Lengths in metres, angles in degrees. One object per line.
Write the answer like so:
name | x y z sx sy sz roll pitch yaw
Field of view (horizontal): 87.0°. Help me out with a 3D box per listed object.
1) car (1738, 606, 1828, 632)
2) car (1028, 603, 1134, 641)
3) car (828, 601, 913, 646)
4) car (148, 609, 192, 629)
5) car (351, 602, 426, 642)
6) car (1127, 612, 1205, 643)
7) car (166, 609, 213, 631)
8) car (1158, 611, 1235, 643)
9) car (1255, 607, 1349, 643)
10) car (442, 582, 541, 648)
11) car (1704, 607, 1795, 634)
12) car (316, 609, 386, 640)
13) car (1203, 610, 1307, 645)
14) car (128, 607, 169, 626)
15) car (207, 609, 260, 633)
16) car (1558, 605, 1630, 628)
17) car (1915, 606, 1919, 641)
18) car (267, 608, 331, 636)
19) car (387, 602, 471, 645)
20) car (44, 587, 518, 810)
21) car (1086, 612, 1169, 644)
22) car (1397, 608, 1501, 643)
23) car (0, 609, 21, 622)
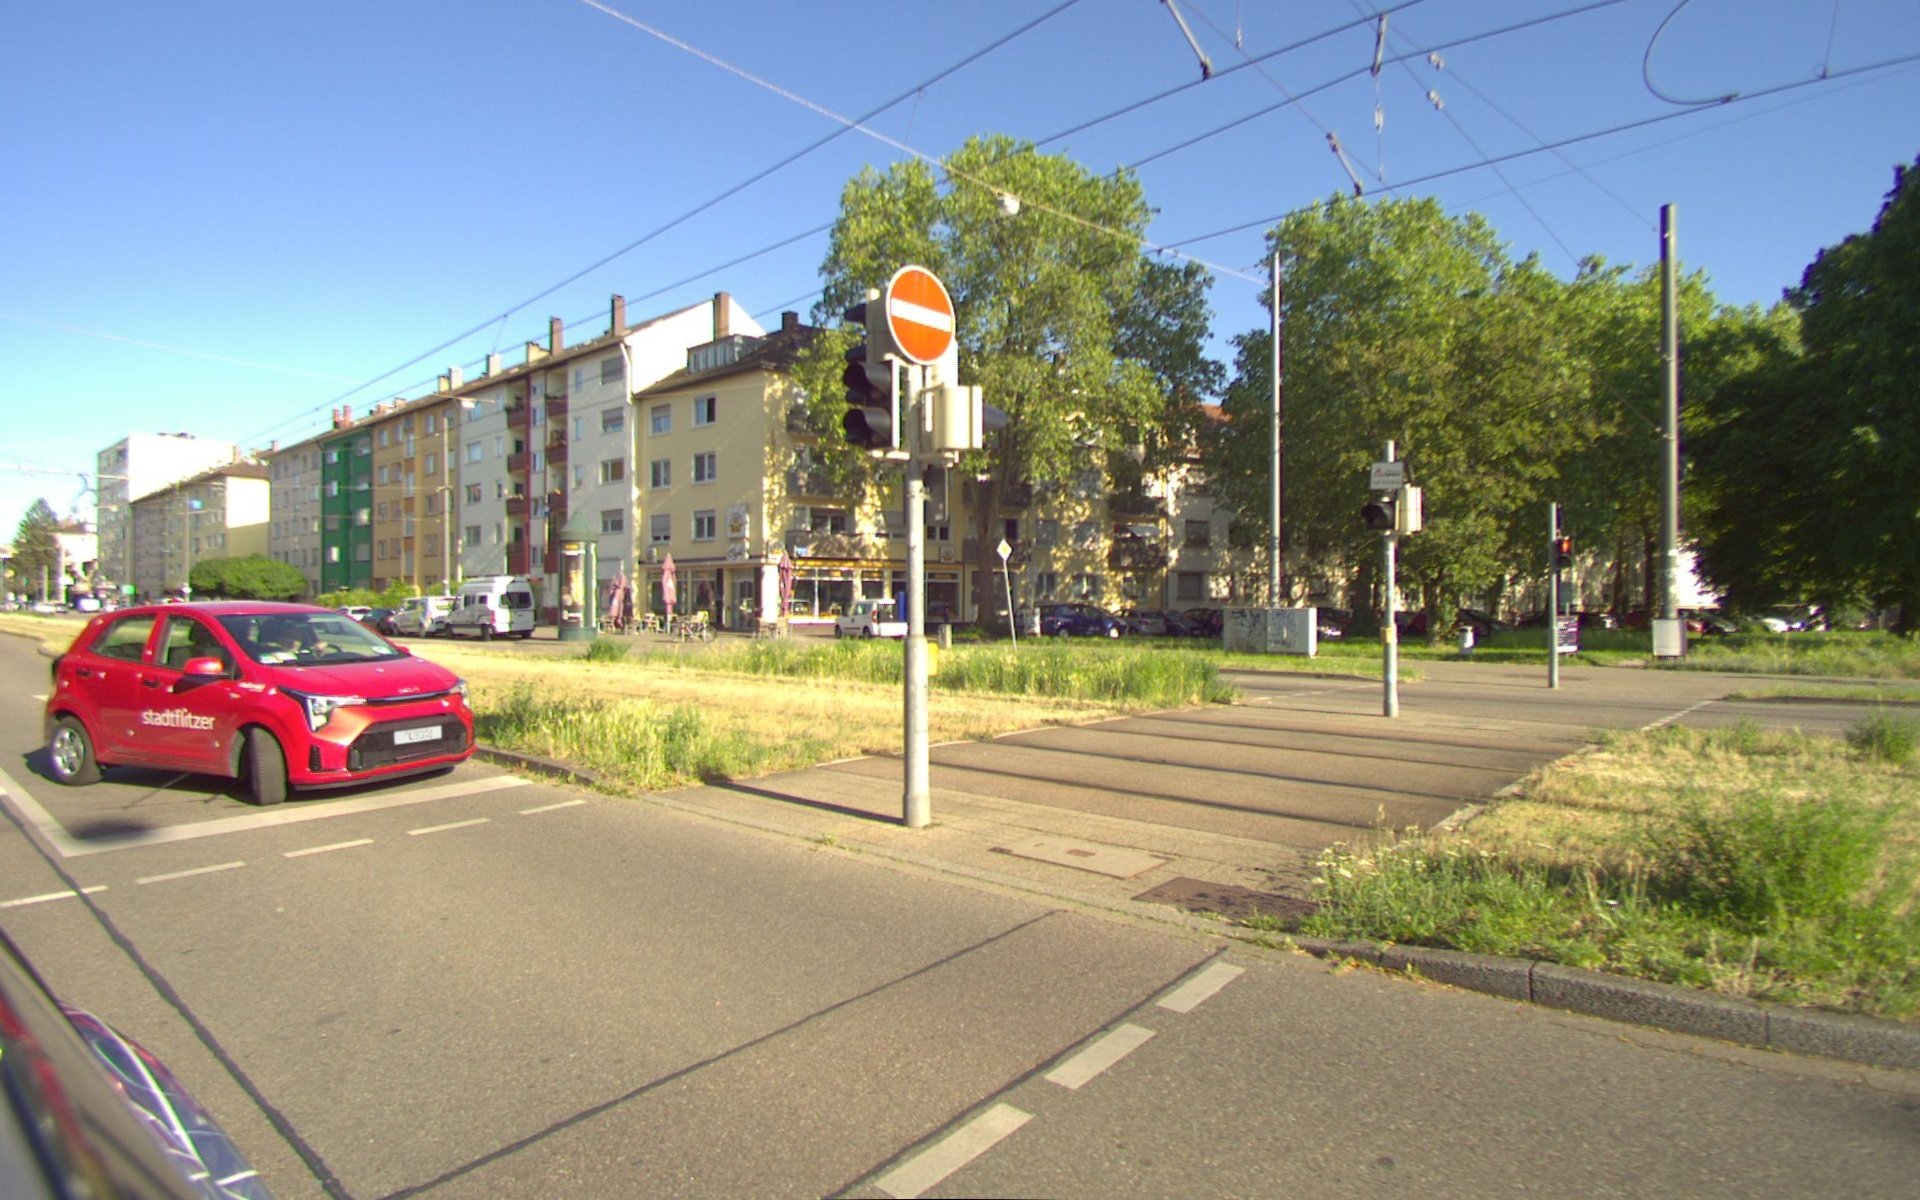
car | 51.710 1.168 63.629 1.966 1.564 3.946 0 -1 -30
car | 4.915 0.891 40.976 3.930 1.448 1.723 1 -1 -26
car | -3.994 1.006 44.568 1.881 1.896 4.009 0 -1 -37
car | -69.396 1.664 88.884 5.401 1.720 2.116 -1 -1 42
car | -31.057 1.176 54.967 4.863 2.050 2.116 -1 -1 42
car | 10.767 1.409 53.071 1.649 1.564 3.943 0 -1 -37
car | -64.380 1.644 84.557 5.401 1.720 2.116 -1 -1 42
car | 12.717 1.426 54.587 1.649 1.619 3.943 0 -1 -37
car | 16.834 1.188 49.934 1.967 1.718 3.943 0 -1 -37
car | -21.438 0.673 46.203 5.227 2.846 2.201 -1 -1 42
car | 47.674 1.206 61.157 1.967 1.564 3.943 0 -1 -37
car | -35.419 1.376 58.801 5.156 1.720 2.116 -1 -1 42
car | 11.942 1.100 41.180 1.616 1.318 4.012 1 -1 -31
car | -75.743 1.533 94.398 5.401 1.720 2.116 -1 -1 42
car | -54.409 1.569 75.746 5.444 1.720 2.116 -1 -1 42
car | 45.576 1.186 72.807 1.967 1.564 3.943 0 -1 -37
car | 58.728 1.363 59.222 3.998 2.029 1.973 -1 0 41
car | -42.818 1.411 65.476 5.444 1.720 2.116 -1 -1 42
car | -26.846 1.147 51.070 5.156 2.050 2.116 -1 -1 42
car | -5.660 0.691 8.453 3.578 1.542 1.533 0 1 22
car | 8.515 1.417 51.689 1.967 1.564 3.943 0 -1 -37
car | 22.850 1.179 47.375 1.967 1.564 3.943 0 -1 -37
car | -130.098 2.105 138.317 5.401 1.720 2.116 -1 -1 42
